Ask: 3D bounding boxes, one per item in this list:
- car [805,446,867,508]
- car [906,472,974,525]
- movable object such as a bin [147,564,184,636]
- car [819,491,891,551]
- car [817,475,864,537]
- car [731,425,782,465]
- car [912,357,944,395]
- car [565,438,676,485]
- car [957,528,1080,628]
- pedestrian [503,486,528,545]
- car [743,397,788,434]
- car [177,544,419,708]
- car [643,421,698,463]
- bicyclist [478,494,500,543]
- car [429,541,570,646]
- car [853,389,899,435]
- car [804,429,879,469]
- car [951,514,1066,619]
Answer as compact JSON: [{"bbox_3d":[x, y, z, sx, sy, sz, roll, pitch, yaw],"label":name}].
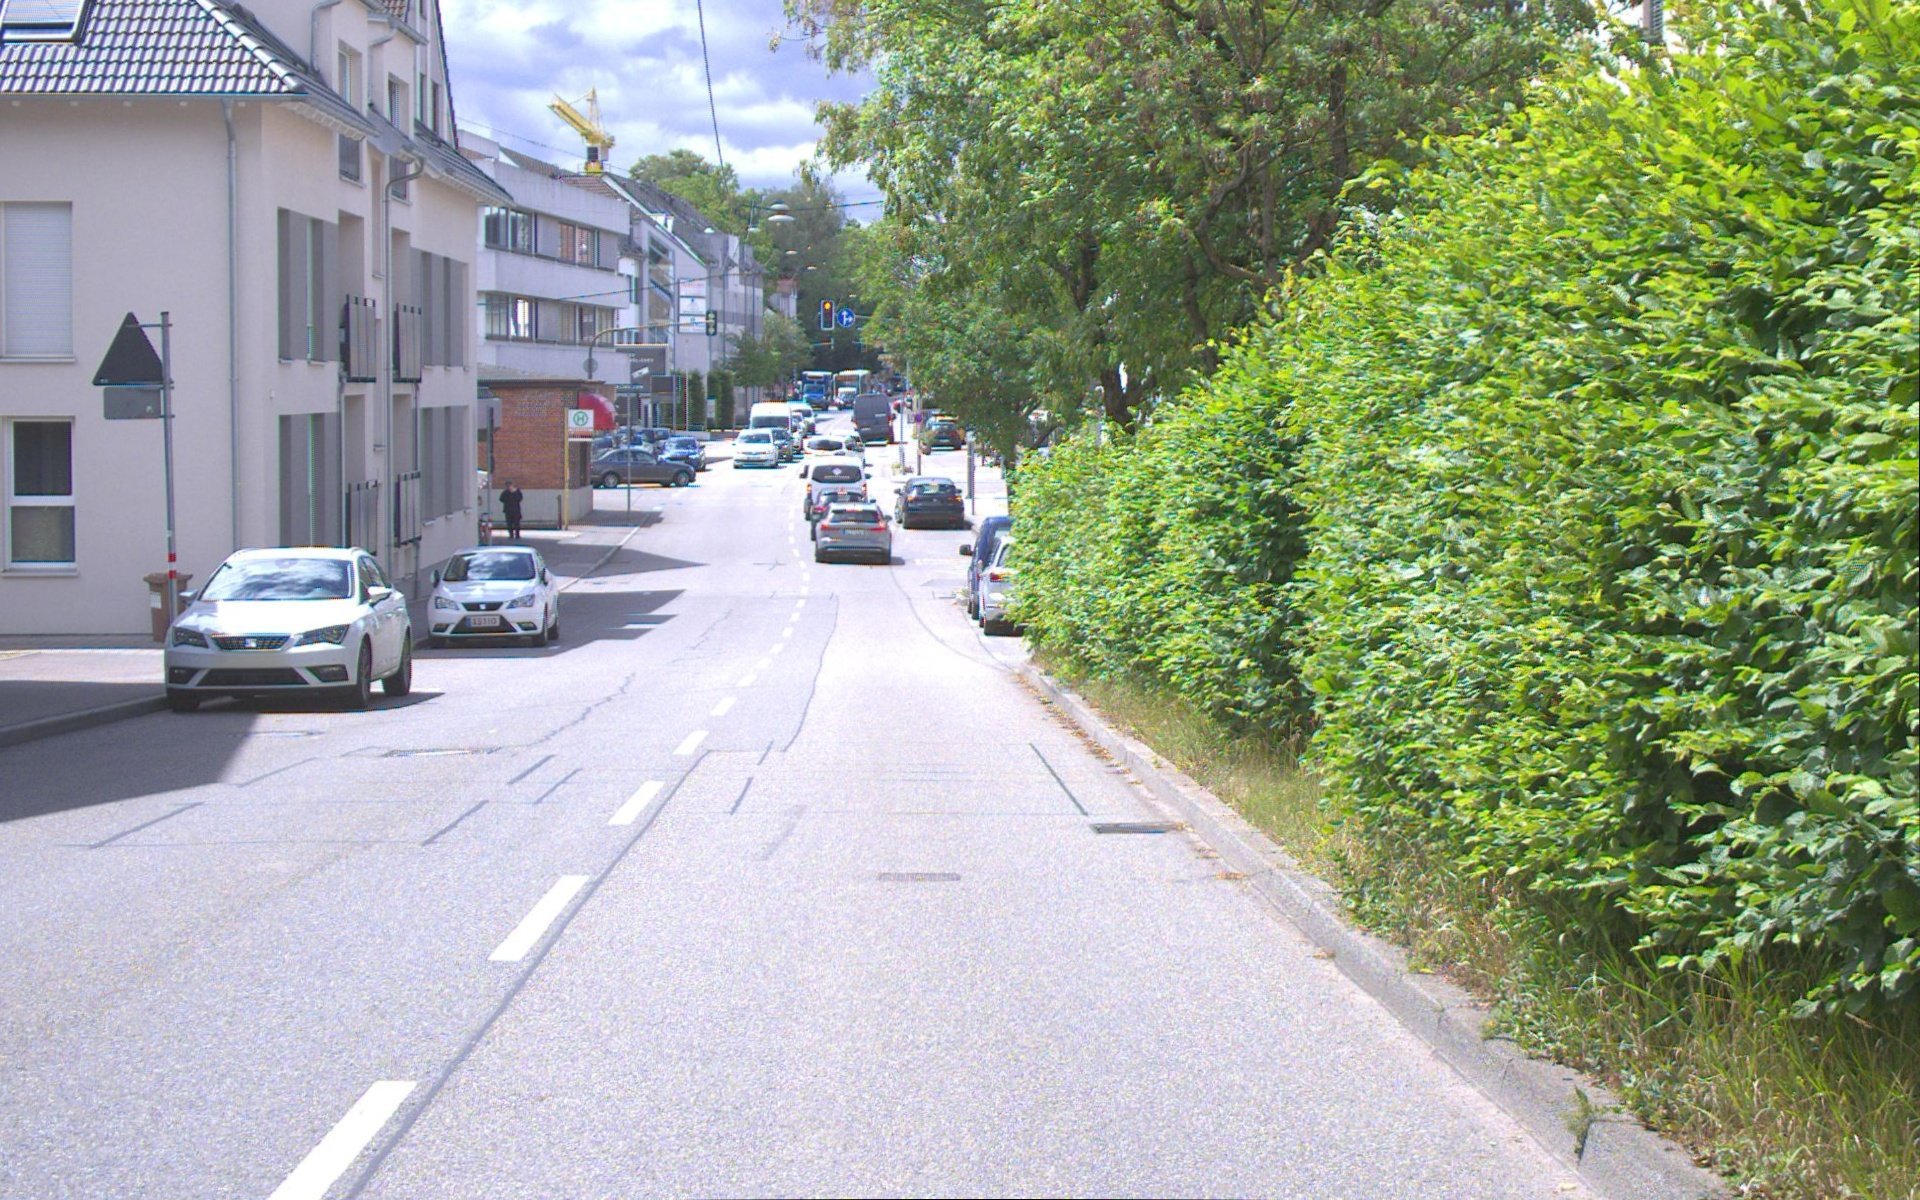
[{"bbox_3d":[-3.780,-3.765,105.088,1.836,1.855,3.851,1,2,-2],"label":"car"},{"bbox_3d":[-0.615,-3.017,101.490,1.752,1.366,4.002,0,5,-4],"label":"car"},{"bbox_3d":[-10.674,-0.004,46.188,0.413,0.950,0.391,0,1,-4],"label":"movable object such as a bin"},{"bbox_3d":[-2.612,-1.983,85.793,1.744,1.412,4.001,0,2,-2],"label":"car"},{"bbox_3d":[-3.292,-2.603,94.509,1.273,1.522,3.051,0,5,-2],"label":"car"},{"bbox_3d":[-8.746,-6.662,148.029,1.873,1.634,4.000,1,2,1],"label":"car"},{"bbox_3d":[-1.861,-12.951,199.076,1.801,2.007,4.001,0,2,-1],"label":"car"},{"bbox_3d":[-12.316,-5.016,124.606,3.649,1.609,1.576,0,2,-28],"label":"car"},{"bbox_3d":[0.898,-0.384,55.357,1.786,1.504,4.365,0,2,-1],"label":"car"},{"bbox_3d":[-11.980,-2.280,92.668,0.628,1.597,0.563,0,2,-12],"label":"pedestrian"},{"bbox_3d":[-9.165,-8.720,162.300,1.873,1.634,4.000,0,2,1],"label":"car"},{"bbox_3d":[-6.117,0.194,32.105,1.697,1.385,3.867,0,1,-3],"label":"car"},{"bbox_3d":[-12.133,-6.627,144.336,1.873,1.634,4.000,1,2,1],"label":"car"},{"bbox_3d":[-11.615,-2.012,84.723,0.458,1.175,0.625,0,2,-2],"label":"bicyclist"},{"bbox_3d":[-6.681,-0.121,50.159,1.647,1.414,3.699,0,2,-2],"label":"car"},{"bbox_3d":[-4.542,-10.115,185.310,2.436,2.310,5.327,1,2,-2],"label":"car"},{"bbox_3d":[-4.726,-6.054,137.888,1.782,1.552,3.997,0,2,17],"label":"car"},{"bbox_3d":[0.818,-0.635,61.081,1.844,1.761,4.516,0,2,-1],"label":"car"}]
